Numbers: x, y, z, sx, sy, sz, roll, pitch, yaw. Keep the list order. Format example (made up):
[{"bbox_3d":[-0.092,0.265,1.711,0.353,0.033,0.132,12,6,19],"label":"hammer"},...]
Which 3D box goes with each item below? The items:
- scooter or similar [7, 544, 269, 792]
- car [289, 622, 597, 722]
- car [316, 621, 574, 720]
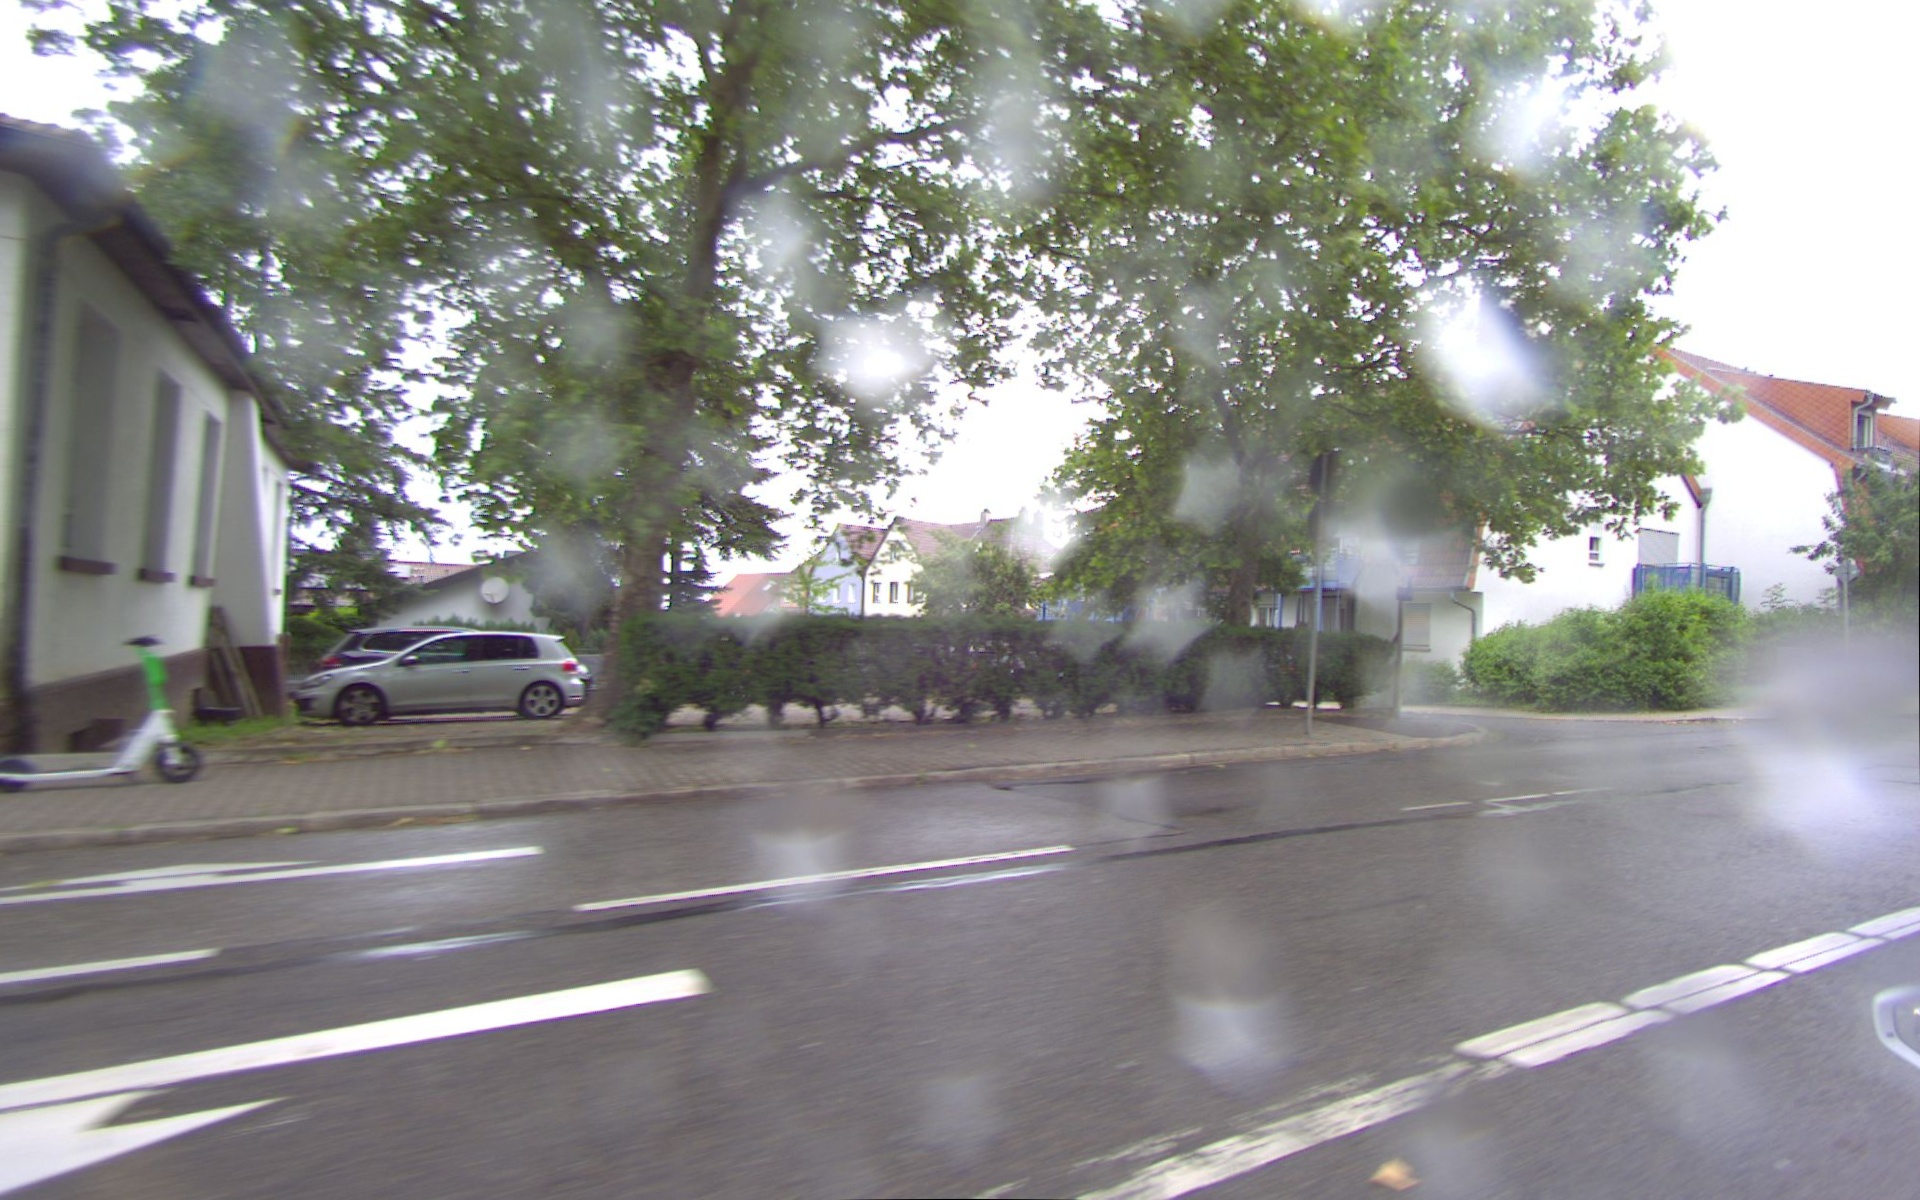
[{"bbox_3d":[-6.377,0.524,7.887,1.497,1.798,0.398,3,-1,-33],"label":"scooter or similar"},{"bbox_3d":[-8.316,1.196,16.419,4.235,1.459,1.744,3,-5,-30],"label":"car"},{"bbox_3d":[-9.849,1.303,19.379,4.209,1.707,1.984,1,-2,-31],"label":"car"}]
